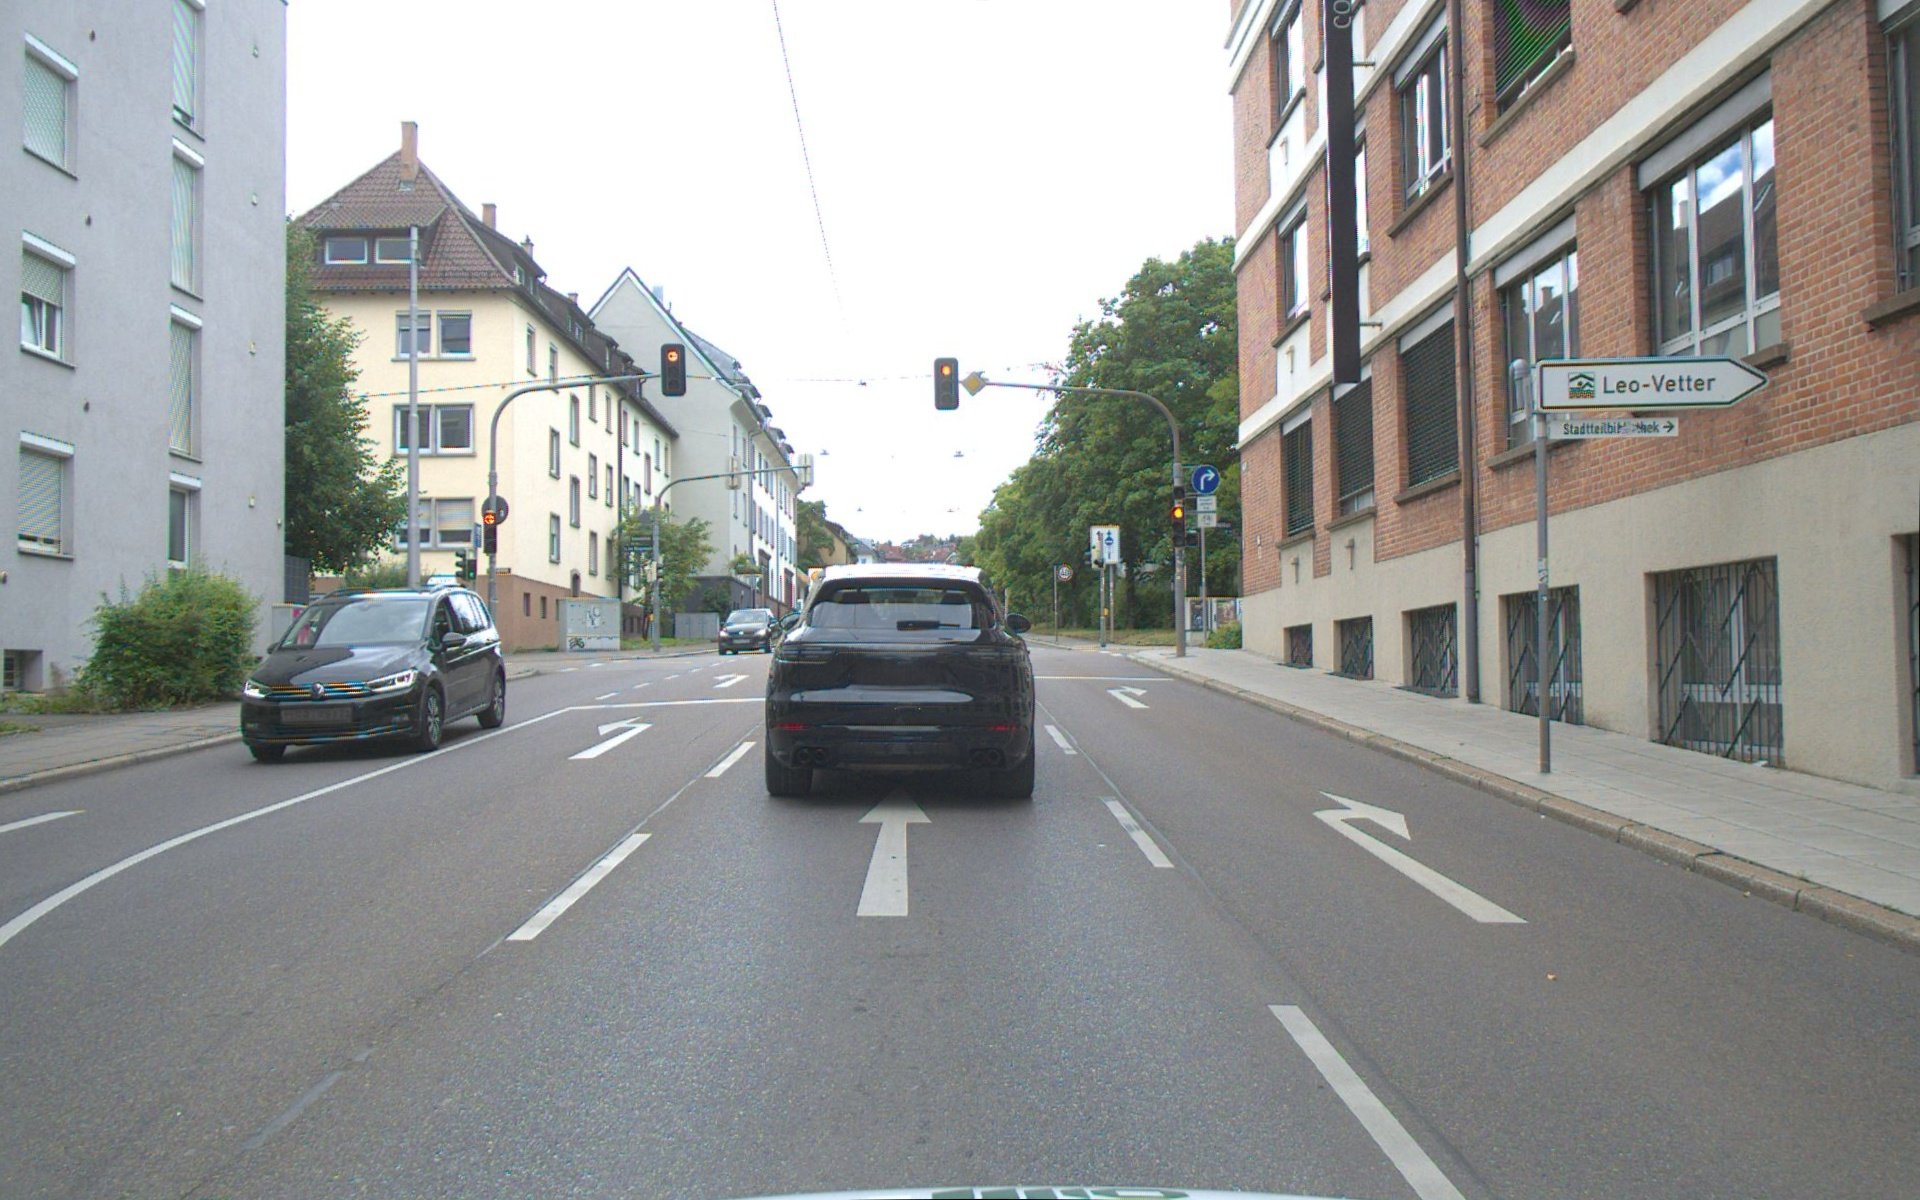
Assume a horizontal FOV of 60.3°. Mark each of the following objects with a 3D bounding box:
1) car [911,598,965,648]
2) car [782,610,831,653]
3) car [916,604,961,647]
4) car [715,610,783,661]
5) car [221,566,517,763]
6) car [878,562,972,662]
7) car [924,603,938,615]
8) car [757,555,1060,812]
[{"bbox_3d":[-0.759,0.777,58.450,1.790,1.633,4.135,1,0,0],"label":"car"},{"bbox_3d":[-6.521,1.310,70.480,1.669,1.614,3.936,-3,1,-1],"label":"car"},{"bbox_3d":[-0.858,1.028,67.323,1.790,1.633,3.858,1,0,0],"label":"car"},{"bbox_3d":[-6.704,1.099,52.847,1.639,1.424,3.794,-3,1,-1],"label":"car"},{"bbox_3d":[-6.099,0.599,17.620,1.749,1.736,4.304,-3,0,-4],"label":"car"},{"bbox_3d":[-0.741,0.236,36.692,1.925,2.078,4.135,1,0,0],"label":"car"},{"bbox_3d":[-3.905,1.201,225.010,1.790,1.633,4.135,1,0,0],"label":"car"},{"bbox_3d":[-0.357,0.542,13.209,2.006,1.695,4.267,1,0,0],"label":"car"}]
